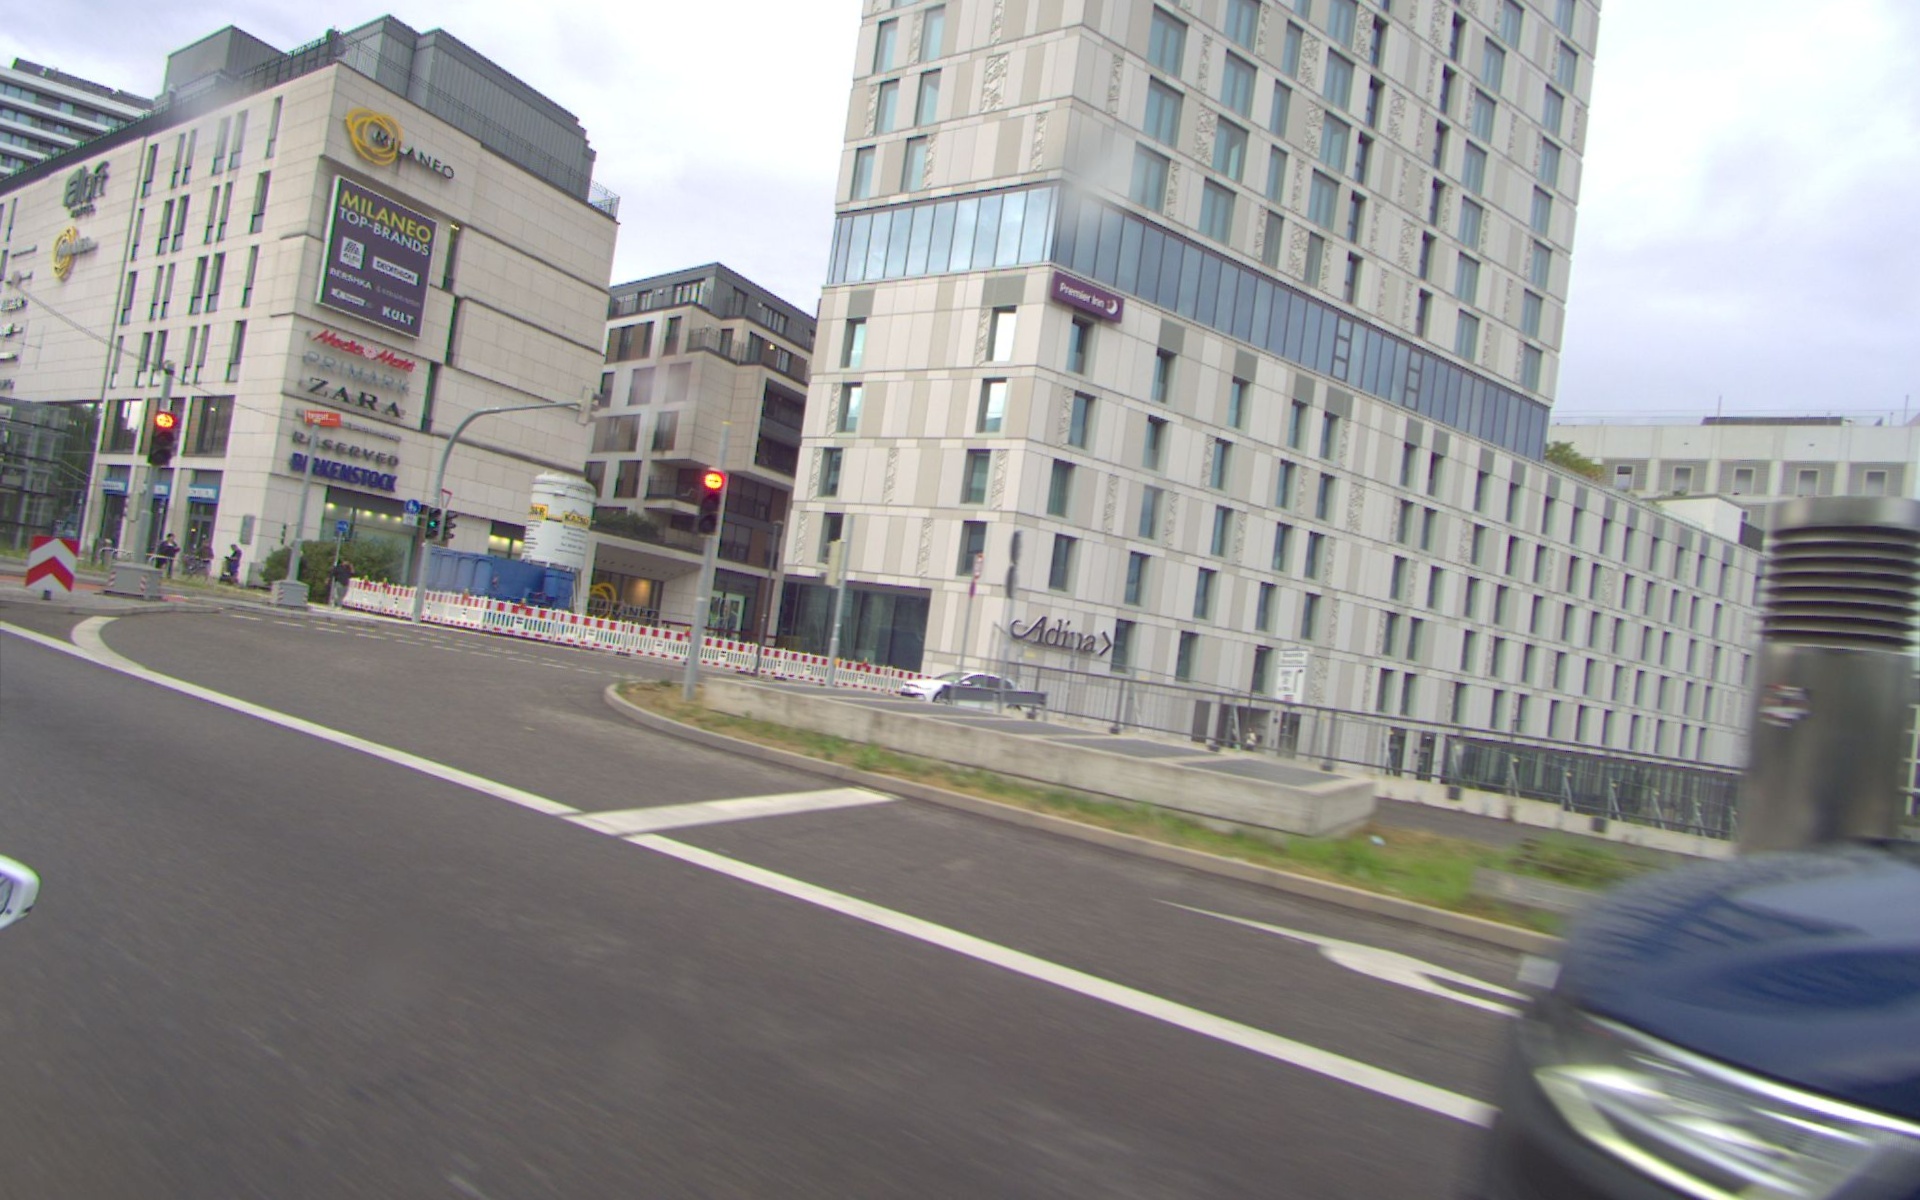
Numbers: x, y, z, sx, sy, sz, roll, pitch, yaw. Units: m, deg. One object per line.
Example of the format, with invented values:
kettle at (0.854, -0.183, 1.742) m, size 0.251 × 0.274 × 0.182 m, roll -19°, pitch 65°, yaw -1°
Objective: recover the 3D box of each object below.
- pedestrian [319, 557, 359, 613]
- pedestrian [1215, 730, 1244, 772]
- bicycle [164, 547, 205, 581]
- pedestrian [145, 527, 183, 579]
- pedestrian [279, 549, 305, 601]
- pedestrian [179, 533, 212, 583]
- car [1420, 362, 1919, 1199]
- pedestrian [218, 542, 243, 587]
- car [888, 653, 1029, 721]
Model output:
pedestrian at (-20.341, -0.492, 32.949) m, size 0.810 × 1.691 × 0.622 m, roll 6°, pitch -1°, yaw 32°
pedestrian at (12.180, 6.829, 45.479) m, size 0.791 × 1.721 × 0.794 m, roll 8°, pitch -1°, yaw -30°
bicycle at (-26.825, -1.252, 34.786) m, size 1.713 × 1.027 × 0.450 m, roll 6°, pitch -1°, yaw 31°
pedestrian at (-26.913, -1.579, 34.014) m, size 0.805 × 1.630 × 0.614 m, roll 6°, pitch -1°, yaw 32°
pedestrian at (-23.859, -0.896, 35.929) m, size 0.590 × 1.801 × 0.437 m, roll 8°, pitch -1°, yaw -35°
pedestrian at (-26.541, -1.468, 34.935) m, size 0.687 × 1.630 × 0.551 m, roll 6°, pitch -1°, yaw 32°
car at (3.391, 0.966, 1.144) m, size 4.958 × 1.903 × 2.037 m, roll 8°, pitch -2°, yaw 32°
pedestrian at (-28.252, -1.376, 38.976) m, size 0.590 × 1.661 × 0.583 m, roll 8°, pitch -1°, yaw -33°
car at (-0.025, 2.758, 31.692) m, size 3.962 × 1.448 × 1.731 m, roll 12°, pitch -4°, yaw -30°
